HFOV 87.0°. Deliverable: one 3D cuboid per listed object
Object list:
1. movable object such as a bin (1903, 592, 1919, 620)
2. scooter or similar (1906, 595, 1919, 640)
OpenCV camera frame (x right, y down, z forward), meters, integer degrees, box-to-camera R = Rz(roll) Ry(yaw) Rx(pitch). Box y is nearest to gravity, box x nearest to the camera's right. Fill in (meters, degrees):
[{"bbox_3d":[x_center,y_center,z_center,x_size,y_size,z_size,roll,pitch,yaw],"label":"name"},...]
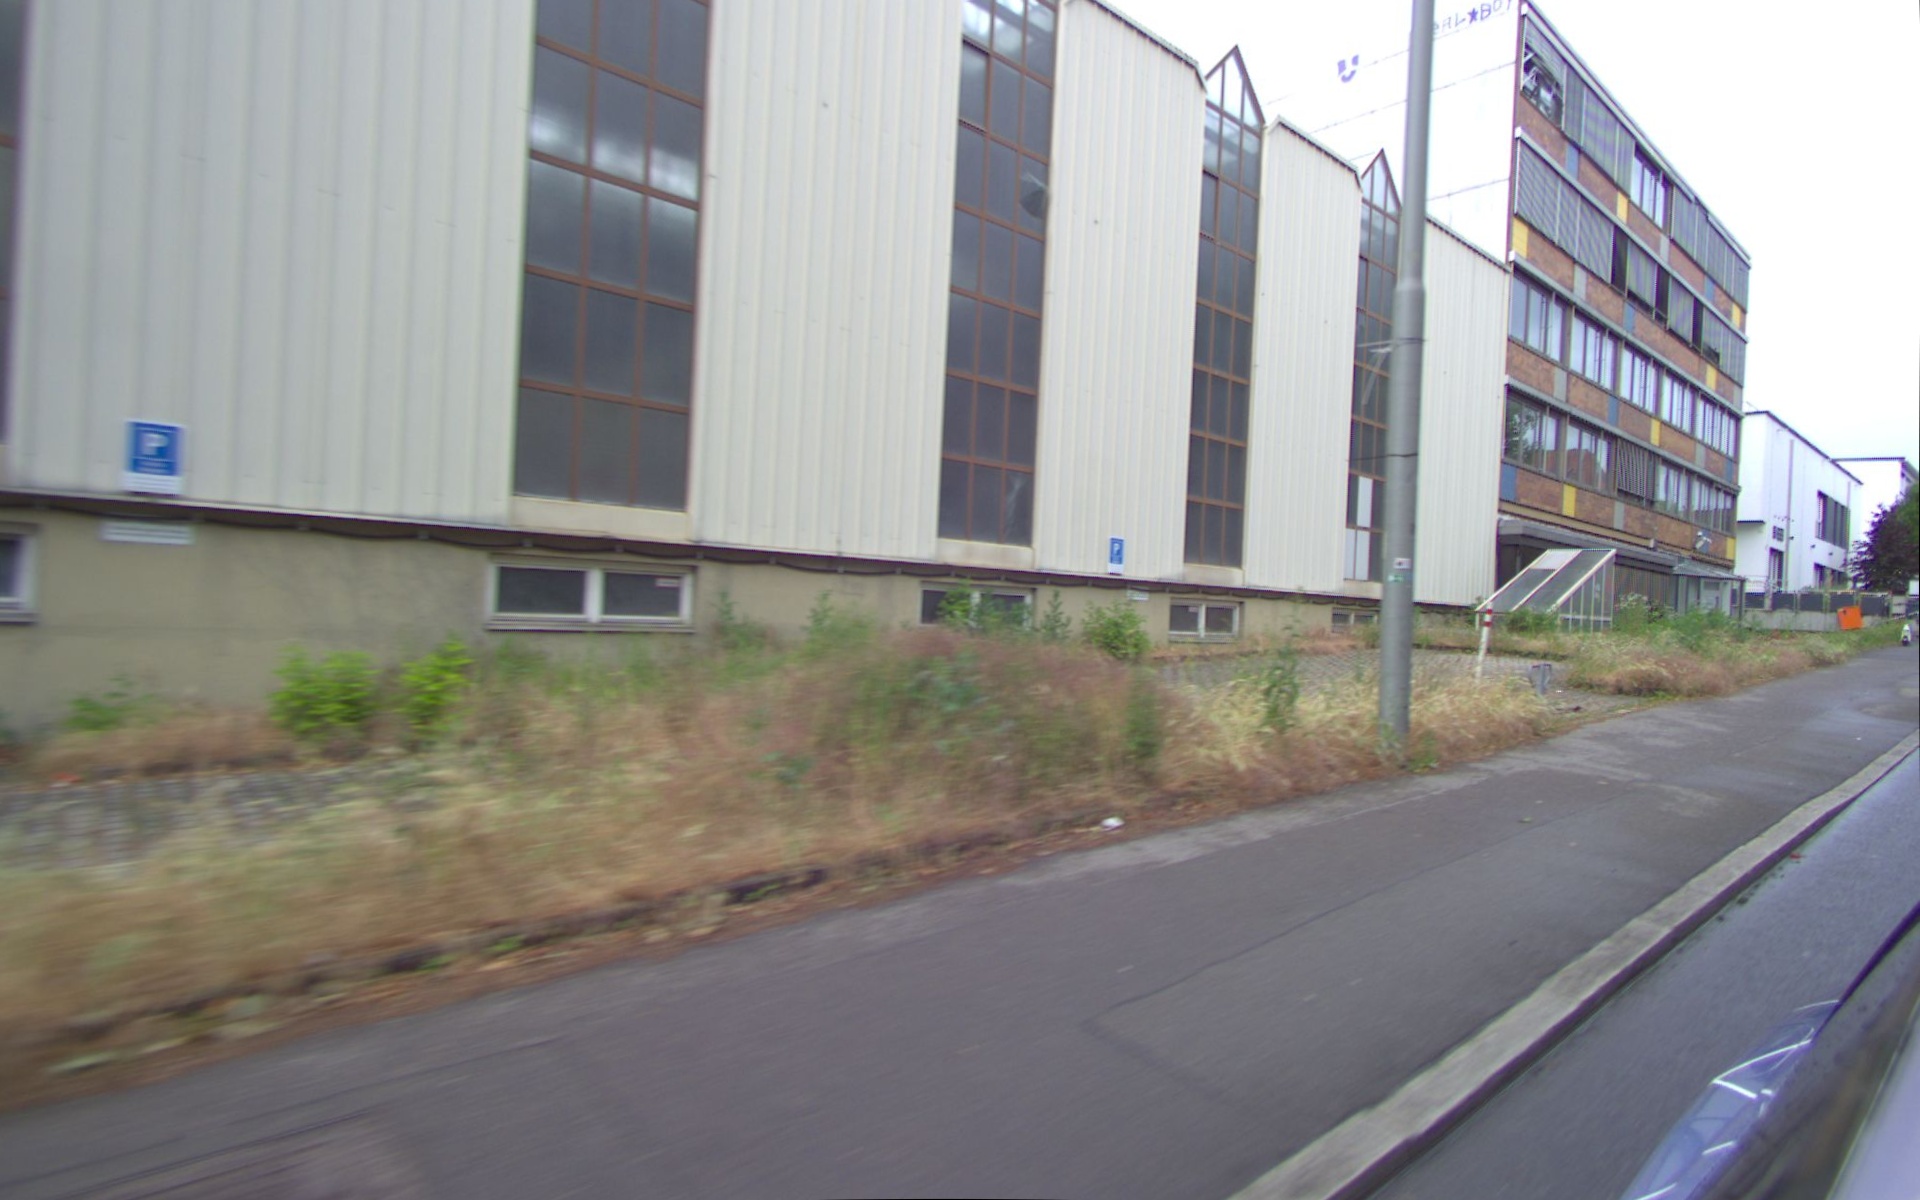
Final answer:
[{"bbox_3d":[38.761,0.231,40.955,0.764,1.095,0.697,0,4,-39],"label":"movable object such as a bin"},{"bbox_3d":[26.110,0.457,27.434,0.605,1.176,1.672,2,2,45],"label":"scooter or similar"}]
